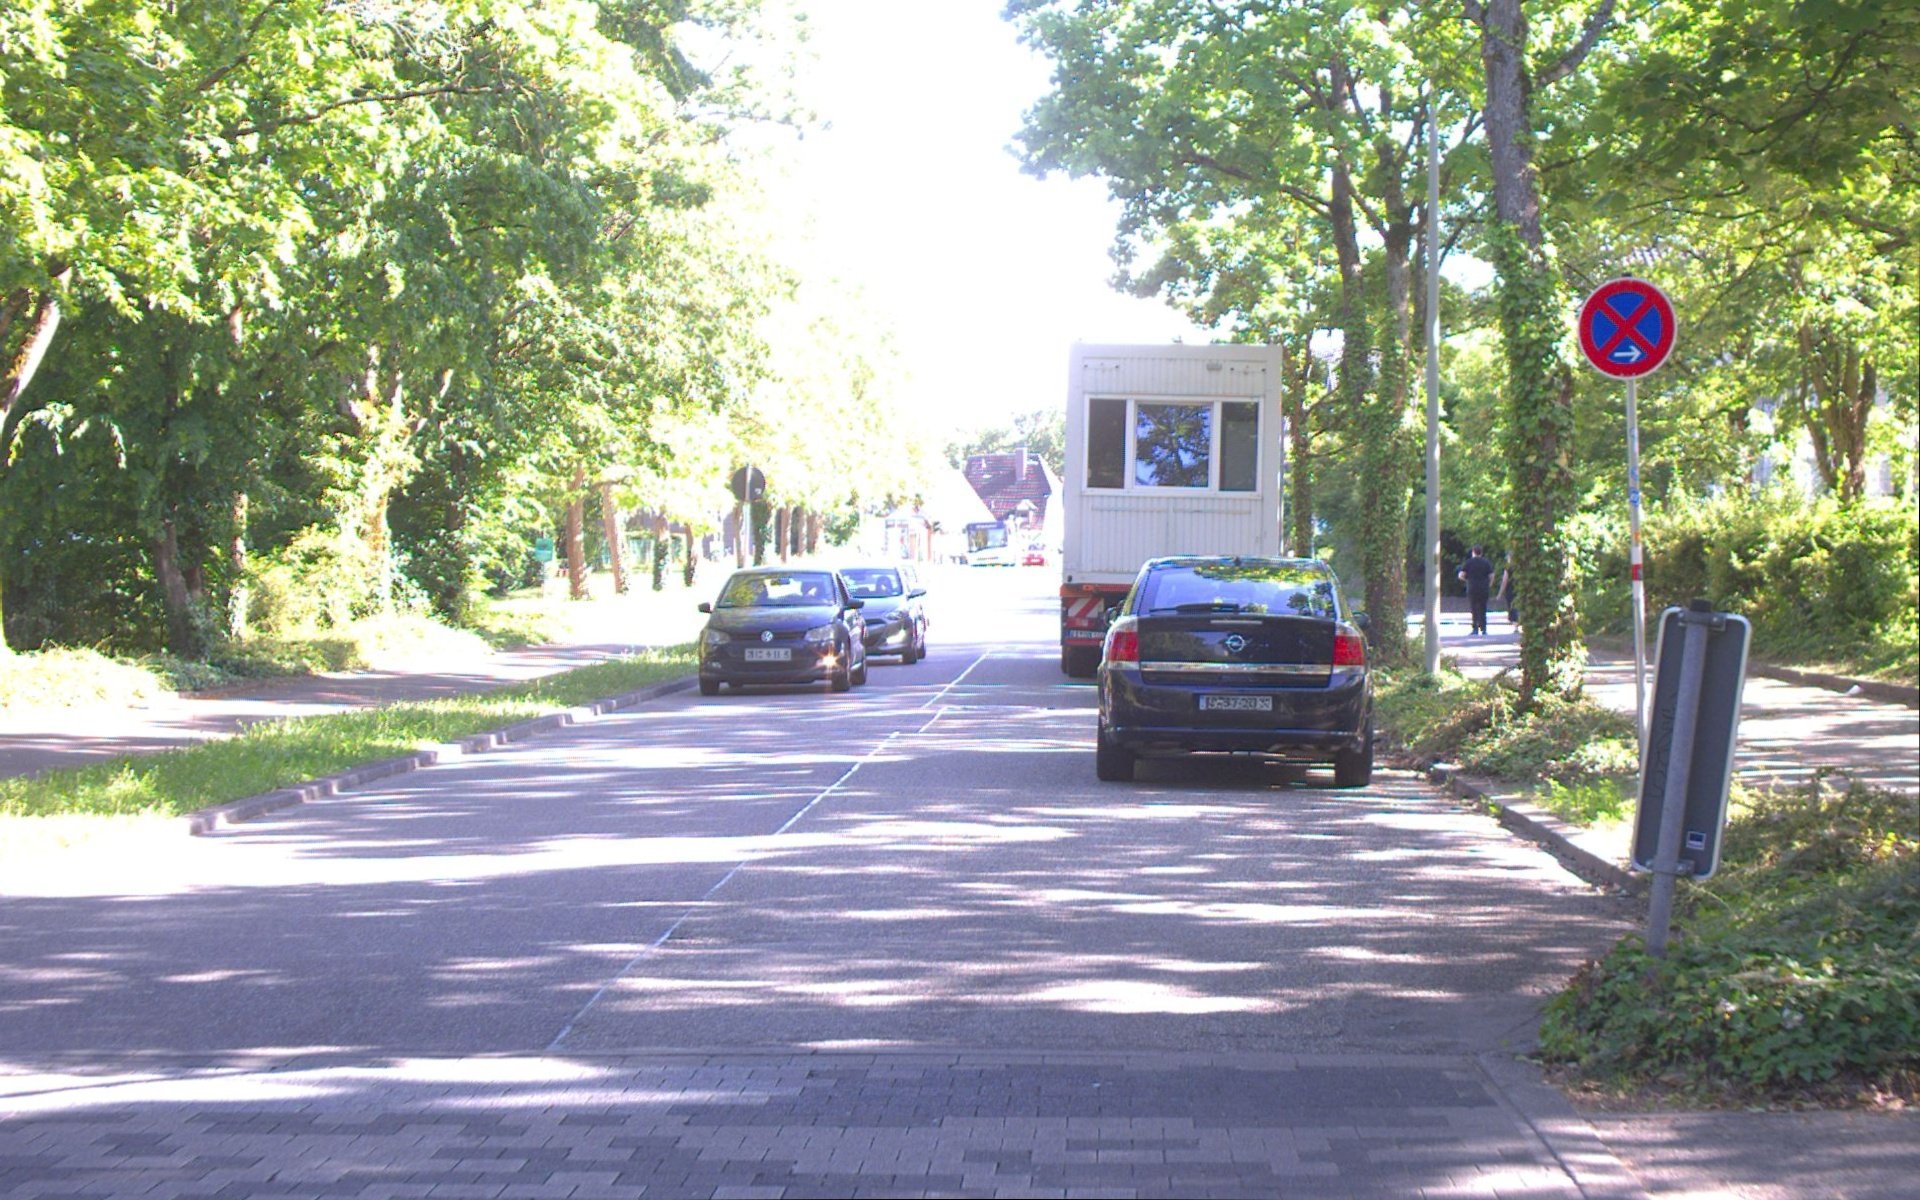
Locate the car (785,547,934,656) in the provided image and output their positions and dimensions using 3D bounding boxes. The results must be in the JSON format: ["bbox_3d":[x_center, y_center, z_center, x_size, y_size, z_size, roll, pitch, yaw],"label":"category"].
[{"bbox_3d":[-1.415,-0.013,49.855,1.755,1.449,4.242,-1,1,4],"label":"car"}]

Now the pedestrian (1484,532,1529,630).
[{"bbox_3d":[10.206,-0.366,64.167,0.698,1.806,0.700,-1,1,-1],"label":"pedestrian"}]

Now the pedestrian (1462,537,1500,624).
[{"bbox_3d":[9.714,-0.370,64.133,0.598,1.605,0.600,-1,1,-1],"label":"pedestrian"}]

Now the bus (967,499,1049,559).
[{"bbox_3d":[2.845,-4.108,200.003,4.066,3.337,9.799,-1,1,5],"label":"bus"}]

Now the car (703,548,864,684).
[{"bbox_3d":[-1.969,0.151,39.135,1.601,1.421,3.652,-1,1,0],"label":"car"}]

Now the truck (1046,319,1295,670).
[{"bbox_3d":[2.589,-1.323,44.975,2.773,3.982,10.348,2,1,2],"label":"truck"}]

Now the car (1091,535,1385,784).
[{"bbox_3d":[1.825,0.344,22.861,1.748,1.475,4.030,1,0,4],"label":"car"}]
